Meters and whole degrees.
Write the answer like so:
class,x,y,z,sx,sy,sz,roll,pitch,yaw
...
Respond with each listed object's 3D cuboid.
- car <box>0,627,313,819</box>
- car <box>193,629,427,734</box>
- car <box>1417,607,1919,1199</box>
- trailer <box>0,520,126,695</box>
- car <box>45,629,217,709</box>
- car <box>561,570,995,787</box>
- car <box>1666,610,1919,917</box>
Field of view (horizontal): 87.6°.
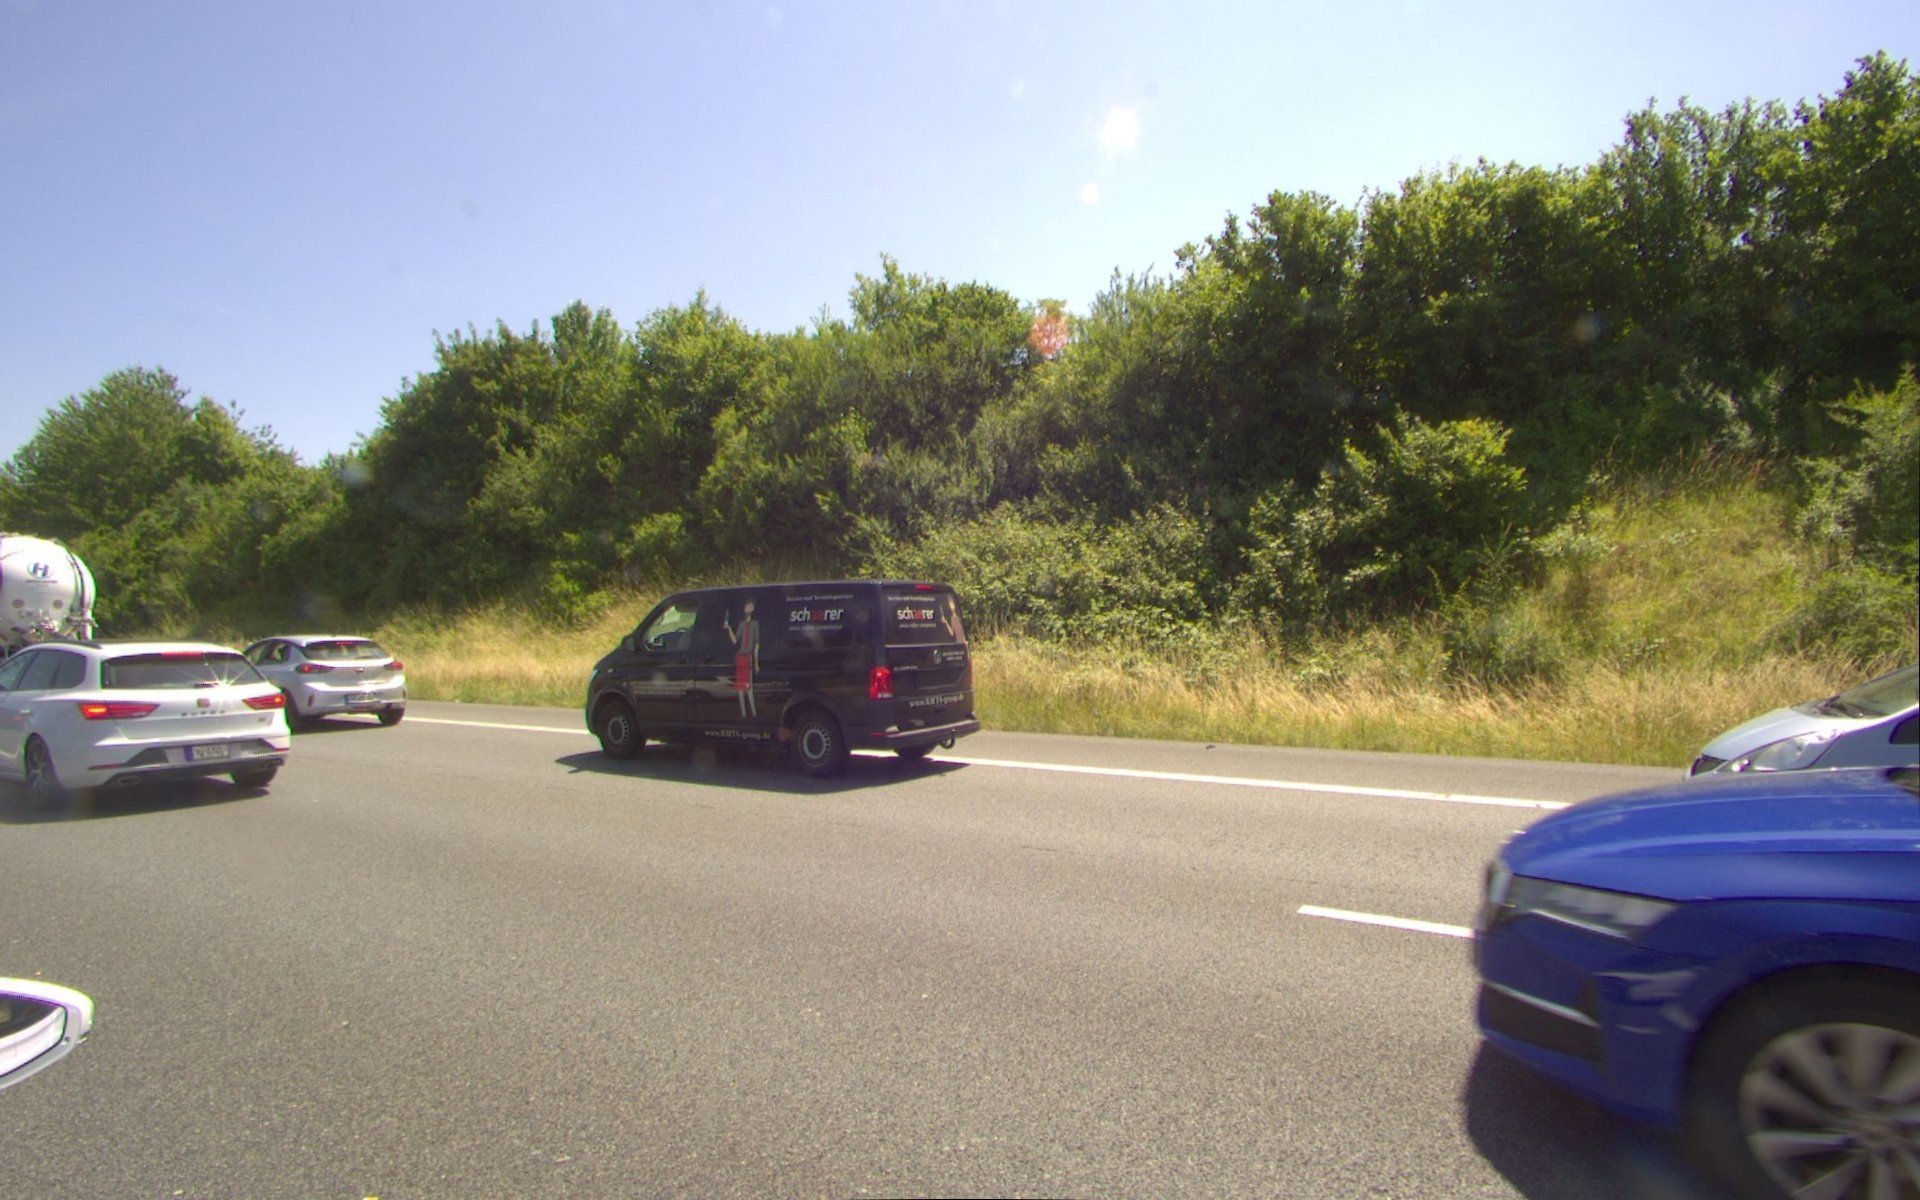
class,x,y,z,sx,sy,sz,roll,pitch,yaw
car,-8.217,1.045,9.682,4.254,1.462,1.743,-2,-1,34
car,-10.636,1.238,16.317,3.971,1.462,1.727,-1,0,33
car,3.600,0.717,2.167,4.511,1.435,1.771,-2,0,34
trailer,-25.641,0.287,26.037,11.323,3.895,2.755,-1,-1,33
car,-17.068,1.379,20.564,3.934,1.435,1.637,-2,0,34
car,-2.151,0.795,11.210,4.790,1.965,1.909,-2,-1,34
car,6.024,0.793,5.077,3.865,1.480,1.659,-1,0,32
